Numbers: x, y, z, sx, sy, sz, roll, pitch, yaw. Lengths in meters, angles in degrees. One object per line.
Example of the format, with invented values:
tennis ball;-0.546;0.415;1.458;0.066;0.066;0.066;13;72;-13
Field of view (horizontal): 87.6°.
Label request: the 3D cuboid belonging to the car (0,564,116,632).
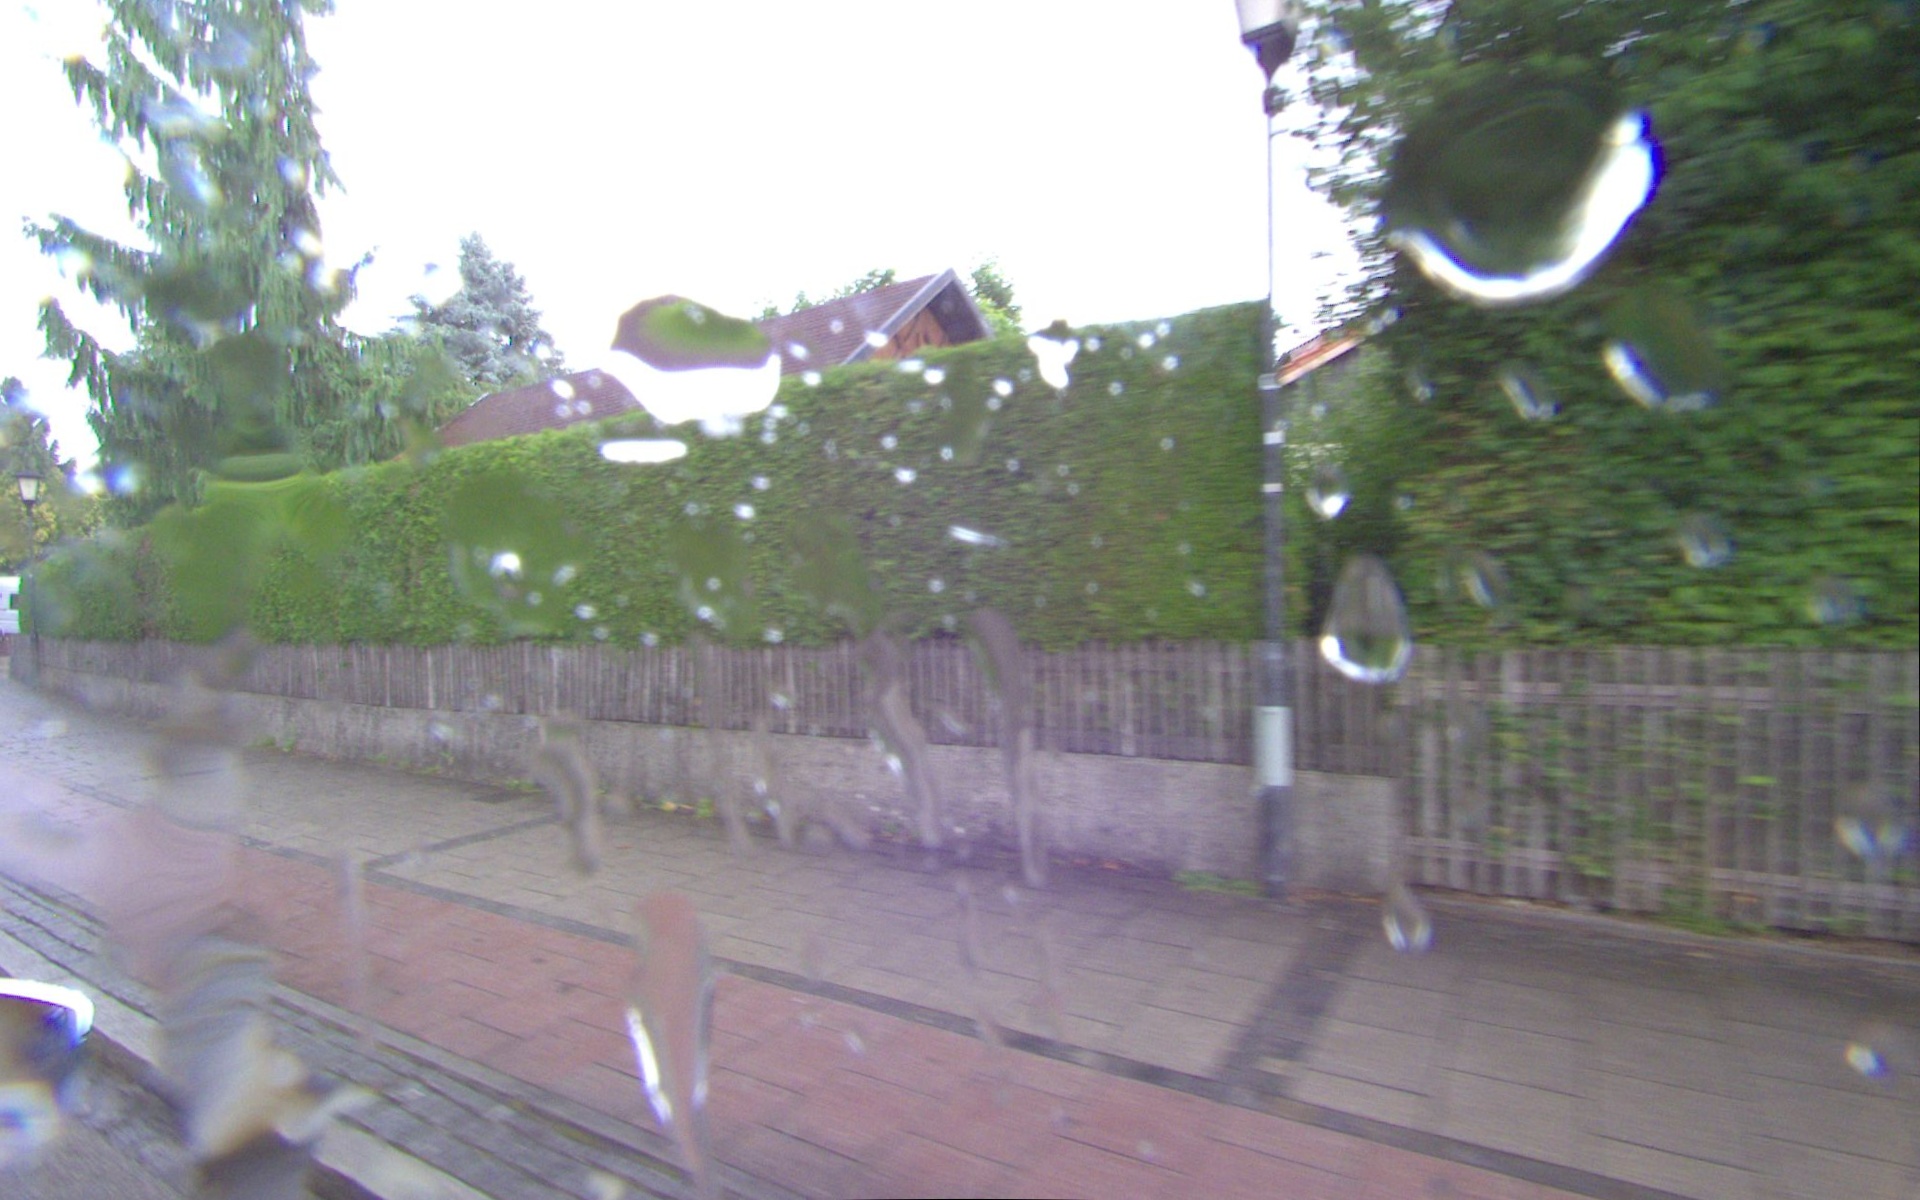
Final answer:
car;-31.661;-0.006;34.761;4.877;2.201;1.992;-1;-2;29
